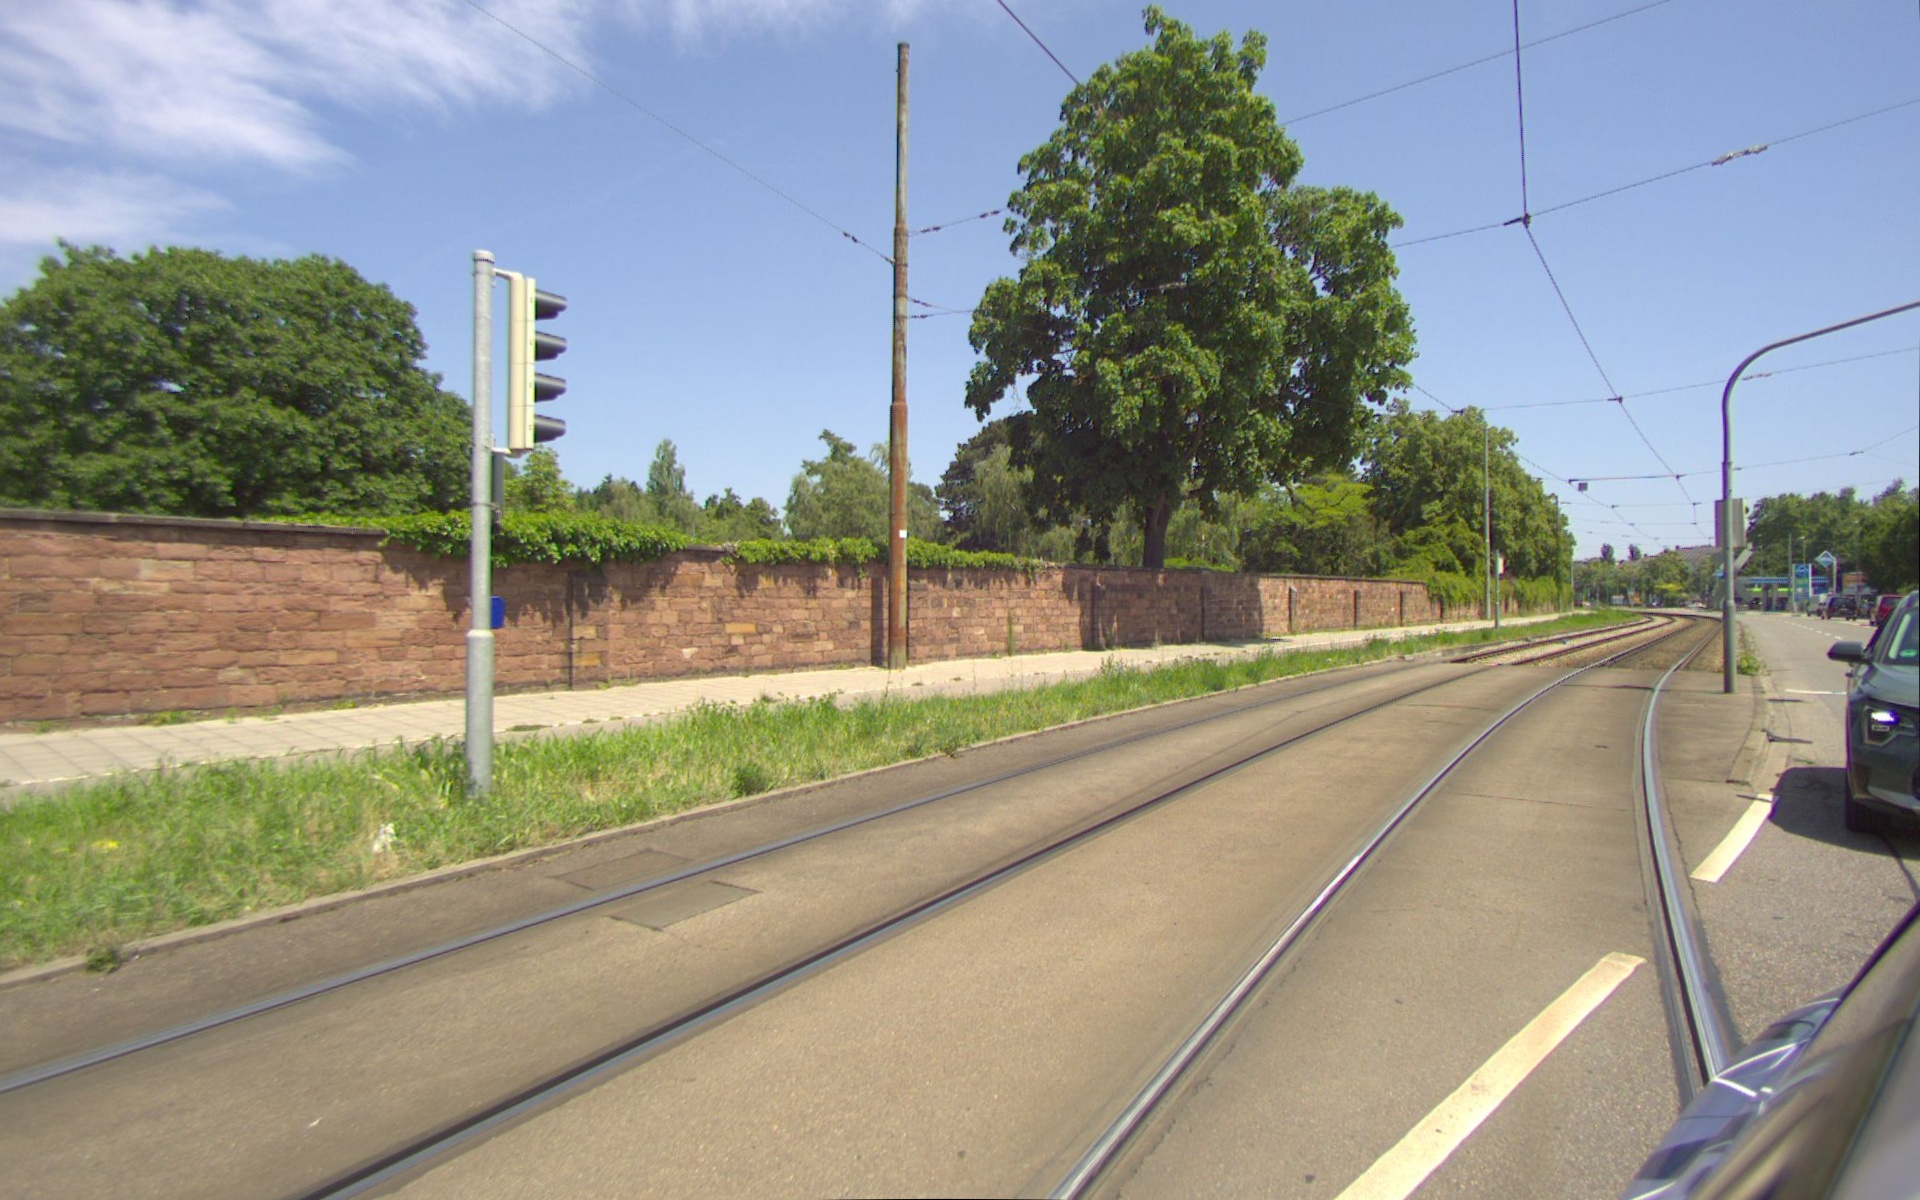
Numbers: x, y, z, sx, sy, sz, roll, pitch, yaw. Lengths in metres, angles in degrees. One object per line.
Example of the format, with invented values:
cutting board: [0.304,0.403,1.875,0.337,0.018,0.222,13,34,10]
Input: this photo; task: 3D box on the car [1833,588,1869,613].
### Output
car: [73.085,0.033,83.050,1.914,1.934,4.509,1,1,38]

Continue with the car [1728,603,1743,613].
car: [131.584,1.361,171.633,1.855,1.515,3.424,-5,-3,37]

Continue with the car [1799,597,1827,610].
car: [103.812,0.453,123.227,1.849,1.515,3.434,-4,-2,29]

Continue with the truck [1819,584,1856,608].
truck: [98.090,-0.511,113.168,2.117,2.613,4.814,0,0,29]

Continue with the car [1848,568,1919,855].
car: [7.263,0.605,6.910,1.753,1.603,4.361,-2,-1,41]

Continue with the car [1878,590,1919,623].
car: [58.095,0.390,62.237,1.894,1.950,4.756,2,1,36]
